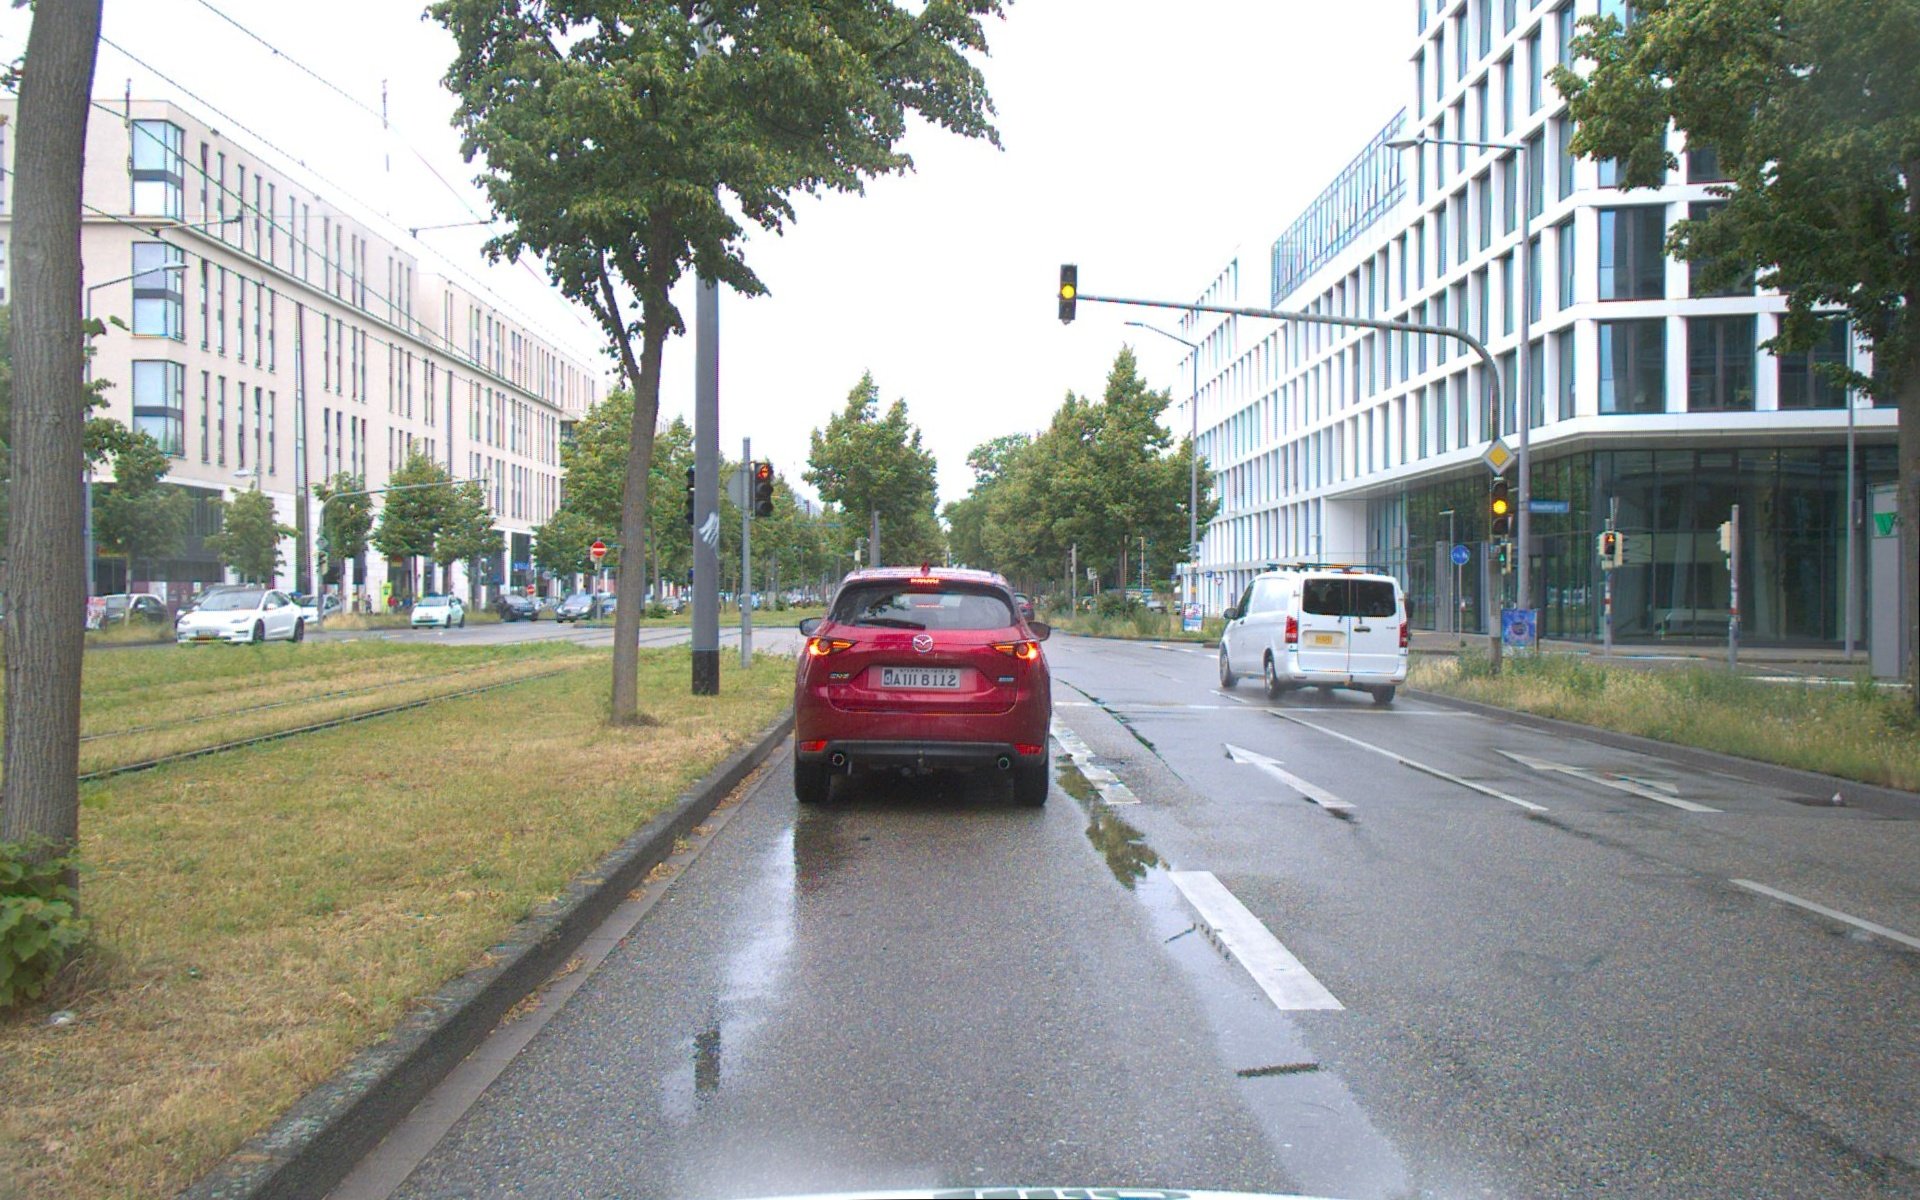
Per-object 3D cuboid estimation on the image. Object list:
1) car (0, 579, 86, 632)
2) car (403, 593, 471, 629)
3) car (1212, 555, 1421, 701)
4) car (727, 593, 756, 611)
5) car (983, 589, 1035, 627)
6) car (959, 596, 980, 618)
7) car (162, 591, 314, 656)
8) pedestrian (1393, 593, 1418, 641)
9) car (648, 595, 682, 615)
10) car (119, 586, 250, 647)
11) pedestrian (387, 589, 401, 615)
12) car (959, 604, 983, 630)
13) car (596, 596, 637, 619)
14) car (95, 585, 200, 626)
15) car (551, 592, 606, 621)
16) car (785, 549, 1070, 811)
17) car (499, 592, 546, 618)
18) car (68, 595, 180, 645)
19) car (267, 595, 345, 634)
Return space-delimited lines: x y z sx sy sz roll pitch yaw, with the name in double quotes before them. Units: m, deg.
"car" -28.533 0.137 50.180 1.955 1.510 4.441 1 0 -5
"car" -23.330 0.474 73.918 1.954 1.510 4.441 0 0 -4
"car" 5.369 0.398 25.657 1.928 2.014 5.089 1 0 -3
"car" -19.094 0.148 144.689 1.953 1.510 4.444 0 0 -1
"car" 1.966 0.296 67.293 1.710 1.490 3.777 1 0 -5
"car" 0.904 0.639 160.545 1.953 2.049 3.999 0 0 -1
"car" -17.962 0.542 41.384 1.953 1.510 4.444 1 0 -2
"pedestrian" 16.325 0.628 60.596 0.664 1.737 0.783 1 0 -3
"car" -23.803 0.405 133.511 1.953 1.510 4.445 0 0 0
"car" -21.825 0.442 46.702 1.953 1.646 3.998 0 0 -3
"pedestrian" -37.777 0.140 110.382 0.622 1.747 0.742 1 0 2
"car" 0.922 1.413 138.276 1.953 2.049 3.999 0 0 -1
"car" -23.244 0.482 112.110 1.953 1.510 4.444 1 1 -1
"car" -31.403 0.188 64.074 1.953 1.510 4.444 1 0 -2
"car" -20.696 0.324 89.861 1.953 1.510 4.445 0 0 -1
"car" -0.258 0.515 12.858 1.860 1.706 3.999 1 0 -1
"car" -26.664 0.304 100.941 1.954 1.510 4.442 0 0 -4
"car" -28.976 0.677 57.479 1.955 1.626 4.441 1 0 -5
"car" -28.824 0.612 73.017 1.953 1.646 3.998 0 0 -3
